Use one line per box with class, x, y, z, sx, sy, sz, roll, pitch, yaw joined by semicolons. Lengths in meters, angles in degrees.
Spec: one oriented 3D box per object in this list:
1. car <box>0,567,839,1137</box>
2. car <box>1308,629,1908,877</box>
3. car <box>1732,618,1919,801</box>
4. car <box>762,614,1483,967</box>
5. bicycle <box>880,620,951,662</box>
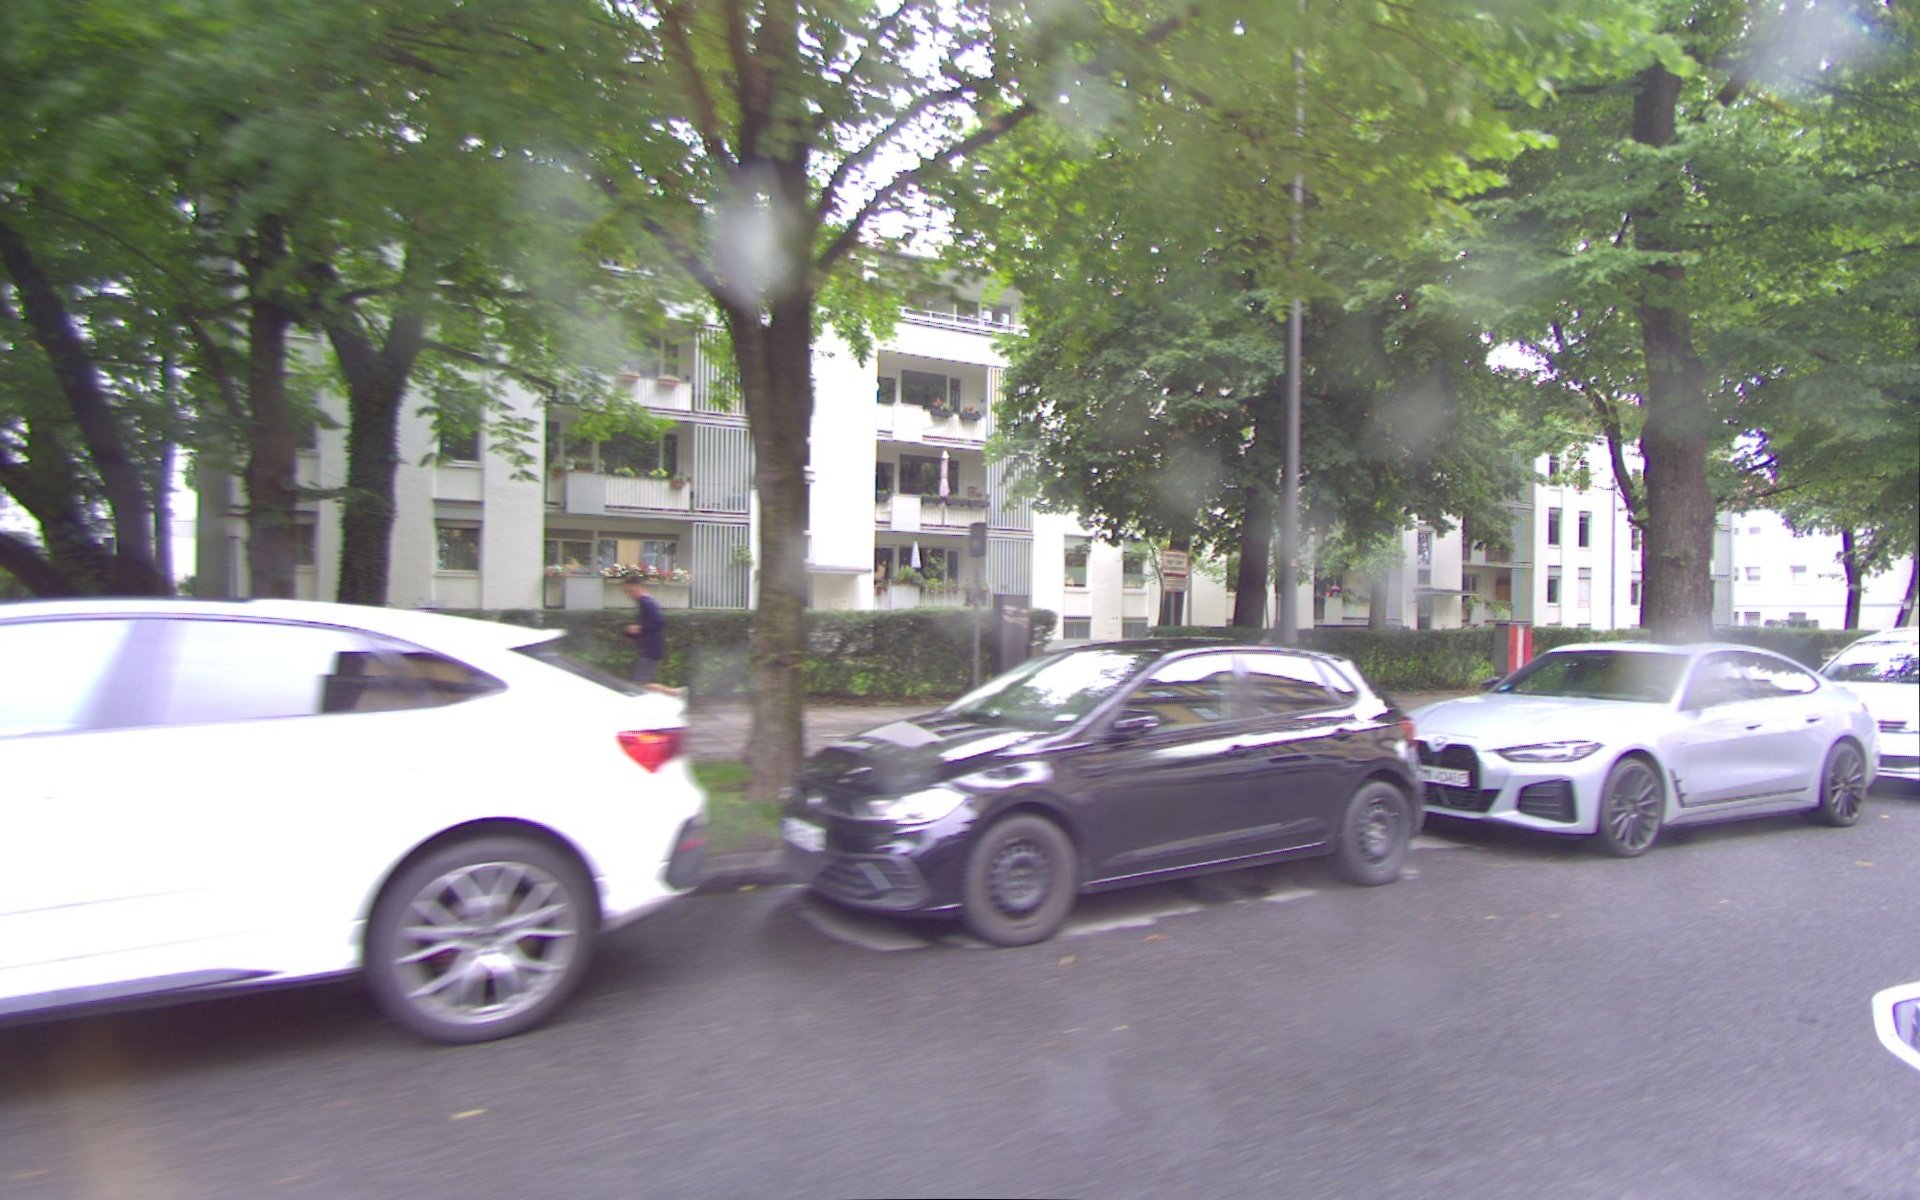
car;-2.904;0.732;3.773;4.527;1.618;1.777;2;-1;-28
car;5.300;1.034;8.074;4.932;1.489;1.803;2;-1;-27
car;10.436;1.090;10.585;4.461;1.643;1.761;2;-4;-25
car;1.047;0.882;5.969;4.053;1.489;1.665;2;-1;-28
bicycle;-1.241;1.139;27.922;1.881;1.122;0.637;1;0;-31
